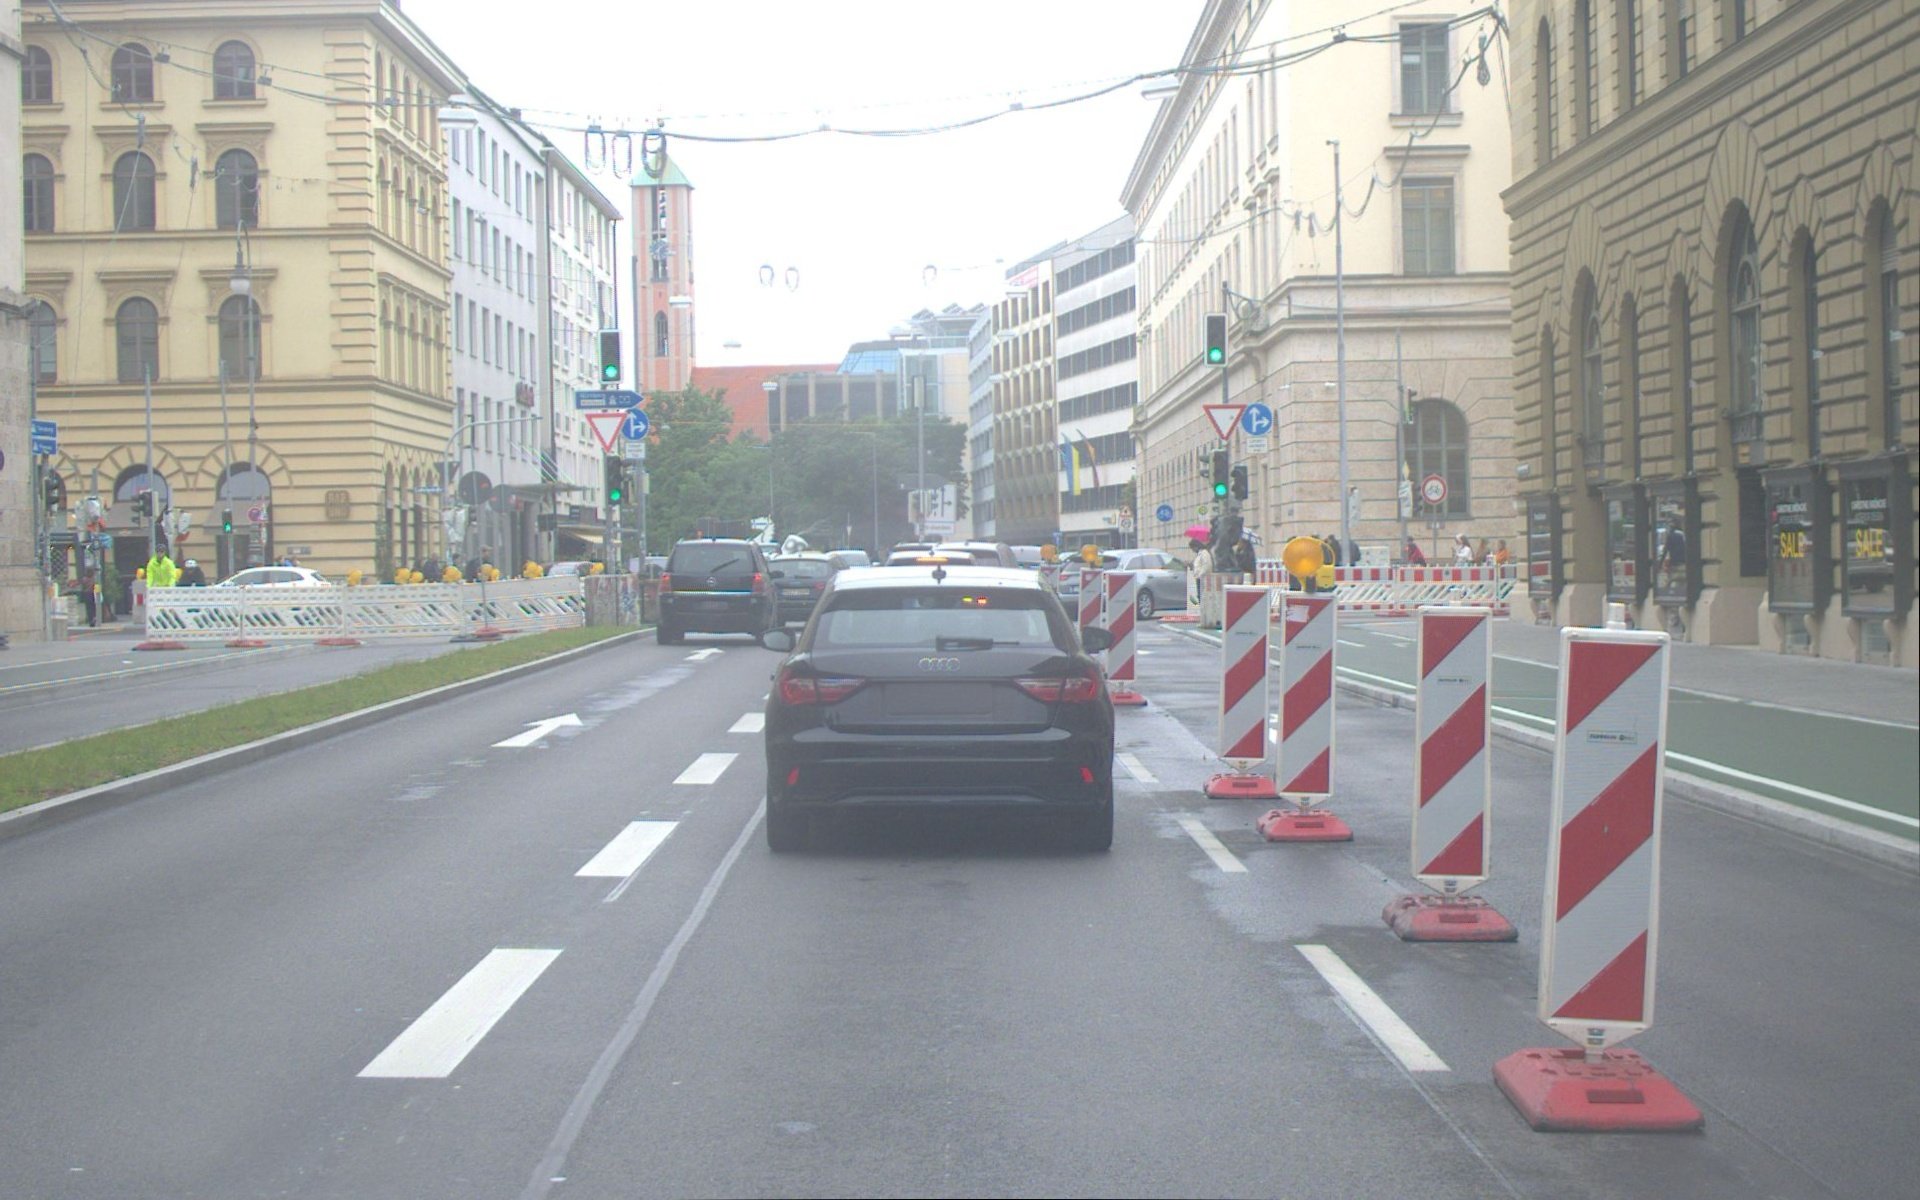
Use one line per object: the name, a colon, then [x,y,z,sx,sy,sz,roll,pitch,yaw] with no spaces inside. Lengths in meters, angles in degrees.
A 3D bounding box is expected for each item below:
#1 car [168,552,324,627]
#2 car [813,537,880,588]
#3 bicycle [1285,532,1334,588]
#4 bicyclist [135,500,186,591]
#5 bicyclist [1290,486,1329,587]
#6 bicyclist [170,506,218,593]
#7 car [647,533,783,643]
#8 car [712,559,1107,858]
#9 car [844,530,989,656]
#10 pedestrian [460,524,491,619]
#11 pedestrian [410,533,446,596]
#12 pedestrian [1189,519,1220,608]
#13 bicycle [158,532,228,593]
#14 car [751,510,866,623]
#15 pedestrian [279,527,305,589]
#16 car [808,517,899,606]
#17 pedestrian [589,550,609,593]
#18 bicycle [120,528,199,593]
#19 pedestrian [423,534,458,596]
car: [-18.030,-0.268,86.796,3.739,1.792,1.869,-1,1,-14]
car: [-3.558,-1.193,108.165,1.993,1.518,4.233,-1,1,-1]
bicycle: [6.433,-0.742,63.325,0.584,1.008,1.657,0,1,-5]
bicyclist: [-15.461,-1.050,66.488,0.798,1.742,0.689,0,1,4]
bicyclist: [6.432,-1.168,63.347,0.566,1.847,0.799,0,1,-5]
bicyclist: [-15.683,-1.045,70.436,0.798,1.769,0.689,0,1,4]
car: [-3.752,-0.213,53.196,1.865,1.596,3.851,-1,1,-1]
car: [-0.257,0.488,18.207,1.863,1.383,4.000,0,1,-1]
car: [-0.623,-0.120,46.087,1.768,1.611,4.001,0,1,-3]
pedestrian: [-8.967,-0.529,63.614,0.512,1.737,1.043,-1,1,-10]
pedestrian: [-15.186,-1.013,98.055,0.734,1.766,0.760,1,1,21]
pedestrian: [4.452,-0.672,62.702,0.531,1.614,0.674,0,1,2]
bicycle: [-15.690,-0.775,70.374,0.787,1.238,2.199,0,1,4]
car: [-2.788,-0.645,63.939,1.993,2.007,4.000,-1,1,-1]
pedestrian: [-18.984,-1.203,97.720,0.733,1.766,0.739,0,1,-10]
car: [-2.494,-0.930,81.519,1.993,2.007,4.000,-1,1,0]
pedestrian: [-14.777,-1.160,140.835,0.737,1.766,0.736,0,1,-1]
bicycle: [-15.464,-0.769,66.462,0.787,1.238,2.448,0,1,4]
pedestrian: [-14.916,-1.016,98.757,0.734,1.766,0.738,1,1,21]
